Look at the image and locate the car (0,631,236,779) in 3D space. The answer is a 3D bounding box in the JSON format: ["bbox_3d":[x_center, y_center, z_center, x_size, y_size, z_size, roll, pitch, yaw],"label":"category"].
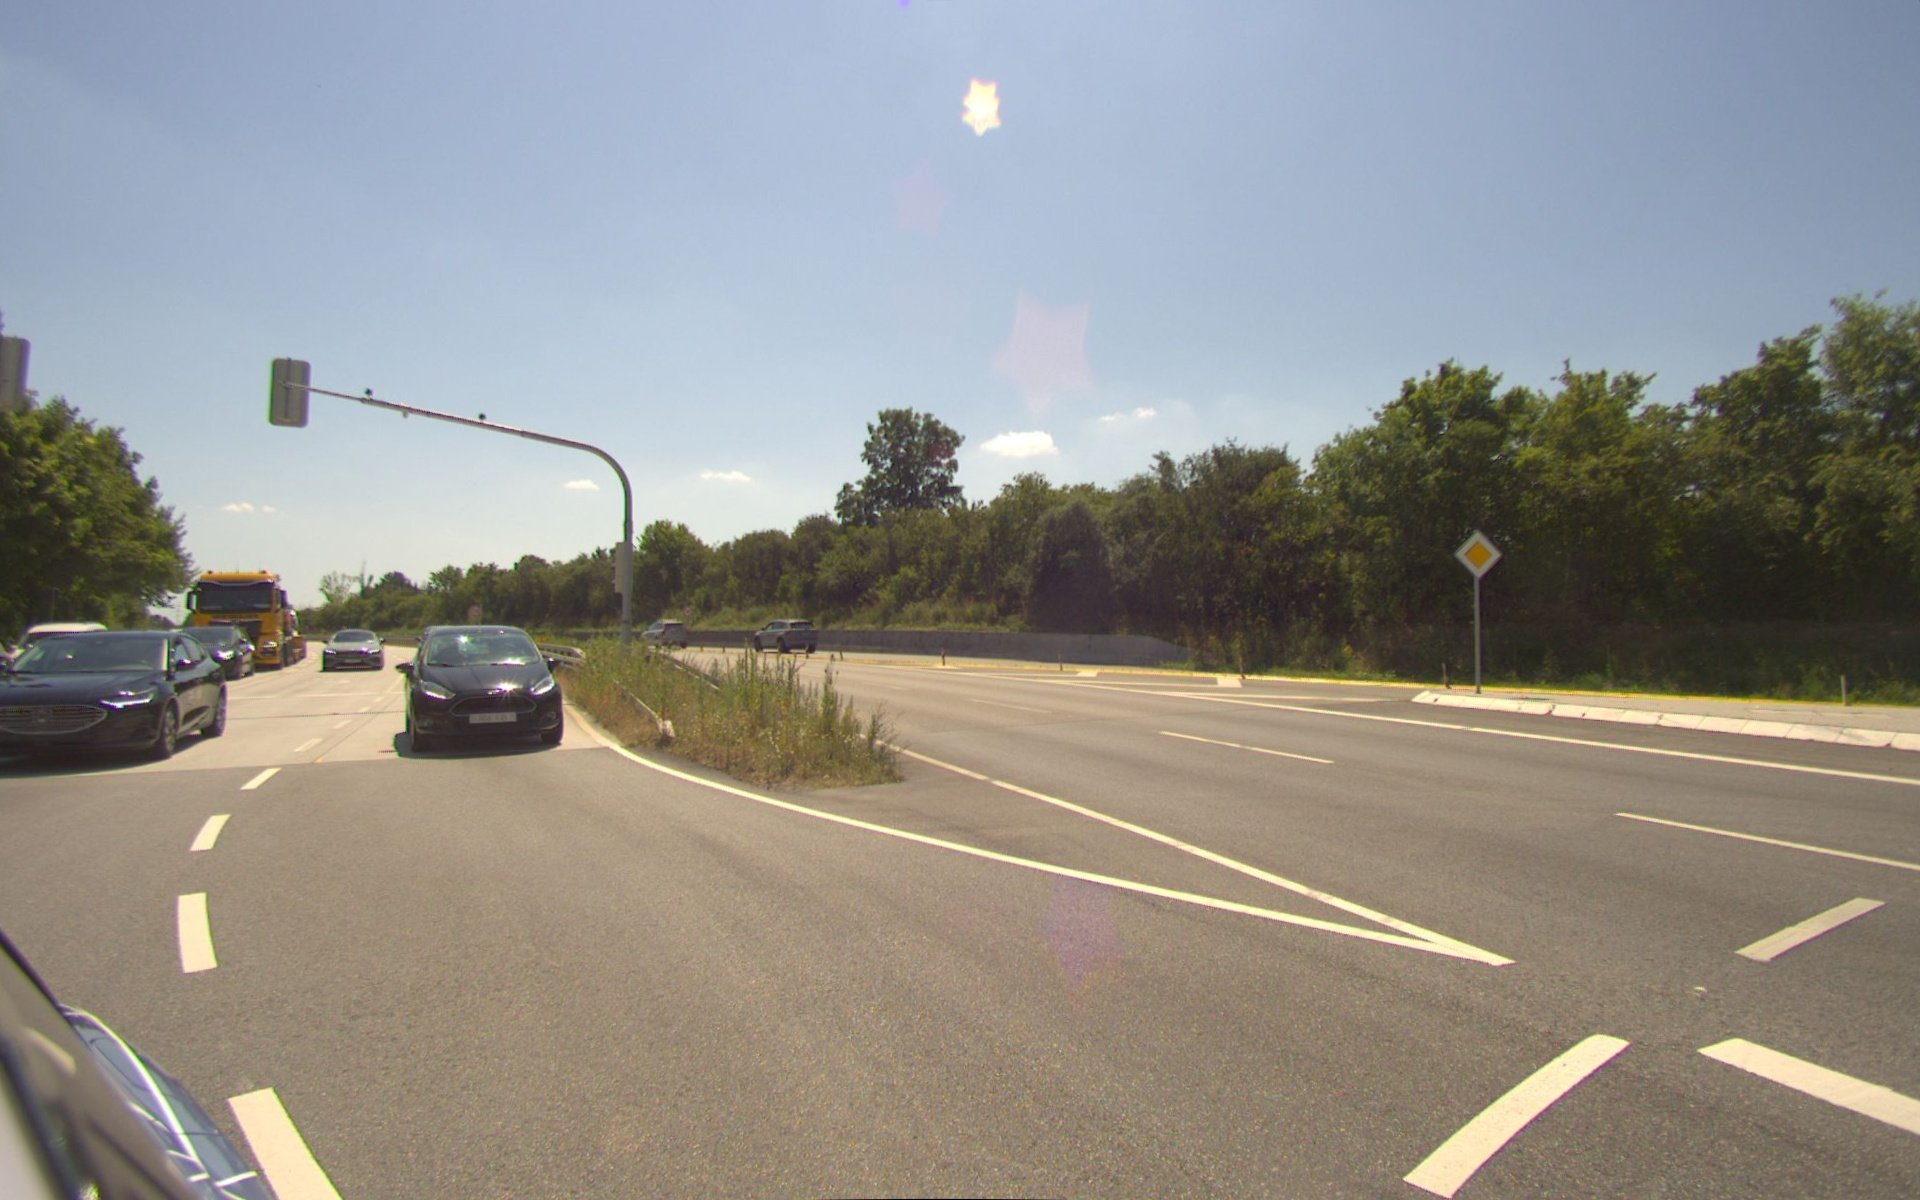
[{"bbox_3d":[-10.188,1.115,12.131,1.702,1.450,4.317,0,-2,-25],"label":"car"}]

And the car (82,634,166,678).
[{"bbox_3d":[-30.892,2.032,37.521,1.743,1.473,4.377,0,-1,-31],"label":"car"}]

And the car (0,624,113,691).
[{"bbox_3d":[-27.211,1.655,30.520,1.743,1.821,4.807,0,-1,-30],"label":"car"}]

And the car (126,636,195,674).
[{"bbox_3d":[-33.755,2.276,42.840,1.743,1.473,4.611,0,-2,-32],"label":"car"}]

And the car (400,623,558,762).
[{"bbox_3d":[-6.316,1.060,13.150,1.600,1.496,4.013,0,-1,-28],"label":"car"}]

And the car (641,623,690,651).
[{"bbox_3d":[-19.201,2.376,65.875,1.966,1.786,4.872,1,-2,-30],"label":"car"}]

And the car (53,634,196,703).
[{"bbox_3d":[-20.045,1.576,24.489,1.743,1.421,4.624,0,-1,-28],"label":"car"}]

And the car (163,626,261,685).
[{"bbox_3d":[-22.953,1.645,31.222,1.759,1.652,4.662,0,-1,-28],"label":"car"}]

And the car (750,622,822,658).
[{"bbox_3d":[-8.759,1.952,50.575,1.966,1.705,4.671,1,-2,-31],"label":"car"}]

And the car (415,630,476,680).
[{"bbox_3d":[-16.759,1.751,33.060,1.678,1.475,4.013,0,-1,-26],"label":"car"}]

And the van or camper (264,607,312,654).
[{"bbox_3d":[-39.244,1.769,59.203,2.034,2.593,5.925,0,-1,-31],"label":"van or camper"}]

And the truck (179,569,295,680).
[{"bbox_3d":[-27.305,0.929,38.550,2.972,3.801,7.492,0,-2,-31],"label":"truck"}]

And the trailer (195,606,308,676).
[{"bbox_3d":[-31.617,1.808,45.756,2.985,2.613,16.404,0,-2,-31],"label":"trailer"}]

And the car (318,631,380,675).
[{"bbox_3d":[-22.233,1.886,36.772,1.860,1.475,4.011,0,-1,-32],"label":"car"}]

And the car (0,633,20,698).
[{"bbox_3d":[-23.274,1.537,23.225,1.743,1.521,3.662,0,-1,-31],"label":"car"}]
